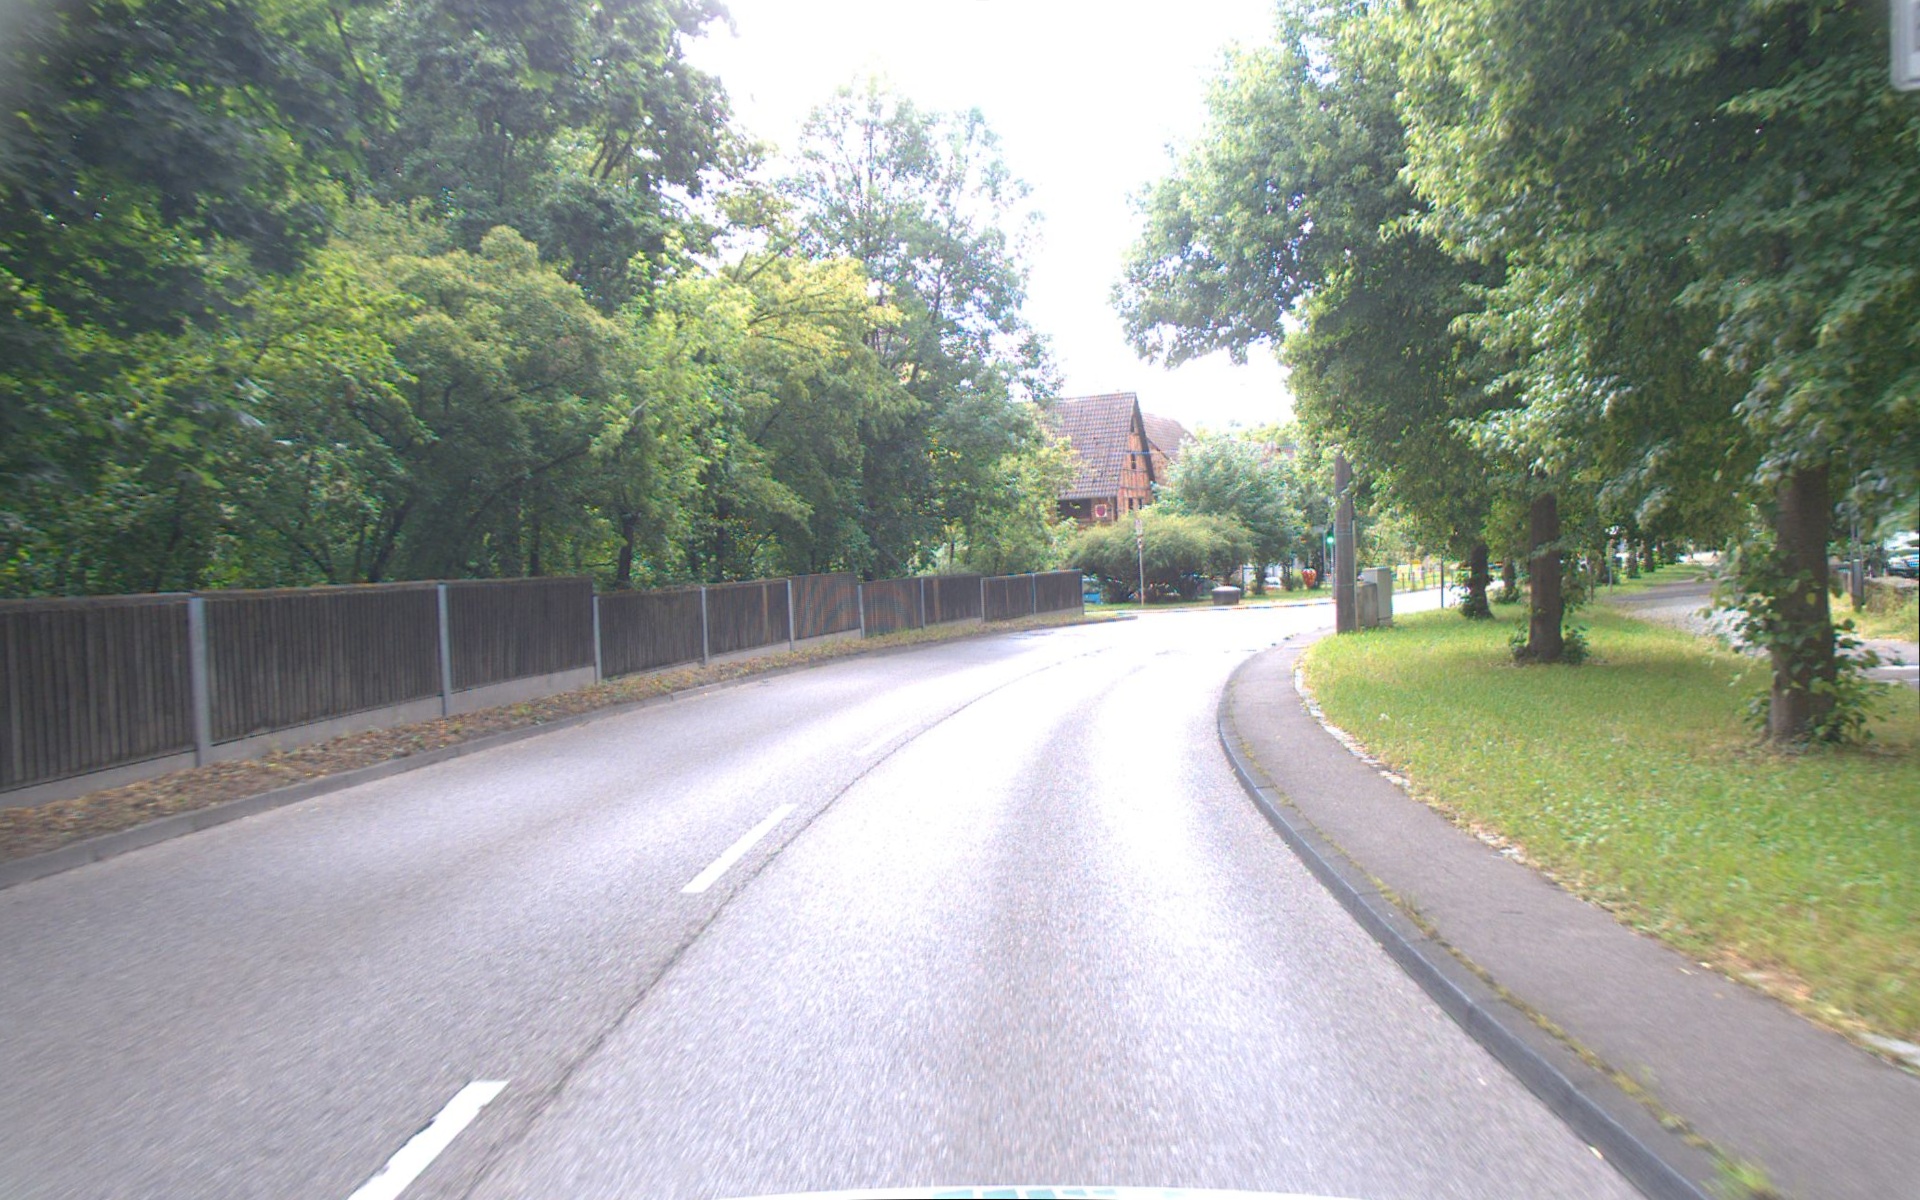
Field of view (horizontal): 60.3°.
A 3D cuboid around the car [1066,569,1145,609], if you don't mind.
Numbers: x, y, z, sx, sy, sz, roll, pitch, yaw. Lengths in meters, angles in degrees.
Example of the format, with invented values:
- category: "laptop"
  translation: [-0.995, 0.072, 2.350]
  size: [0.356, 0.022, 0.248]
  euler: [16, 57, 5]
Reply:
- category: "car"
  translation: [6.846, -0.520, 77.410]
  size: [1.956, 1.646, 4.441]
  euler: [-4, 0, 29]

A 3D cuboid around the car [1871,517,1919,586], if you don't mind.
- category: "car"
  translation: [23.998, -1.272, 41.304]
  size: [1.869, 1.455, 4.464]
  euler: [-4, 2, 26]

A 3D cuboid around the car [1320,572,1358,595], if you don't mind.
- category: "car"
  translation: [24.115, -1.040, 105.115]
  size: [1.525, 1.300, 2.547]
  euler: [-4, 0, 33]

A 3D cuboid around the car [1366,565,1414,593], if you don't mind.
- category: "car"
  translation: [29.133, -1.436, 112.023]
  size: [1.887, 1.724, 3.989]
  euler: [-4, 0, 33]
